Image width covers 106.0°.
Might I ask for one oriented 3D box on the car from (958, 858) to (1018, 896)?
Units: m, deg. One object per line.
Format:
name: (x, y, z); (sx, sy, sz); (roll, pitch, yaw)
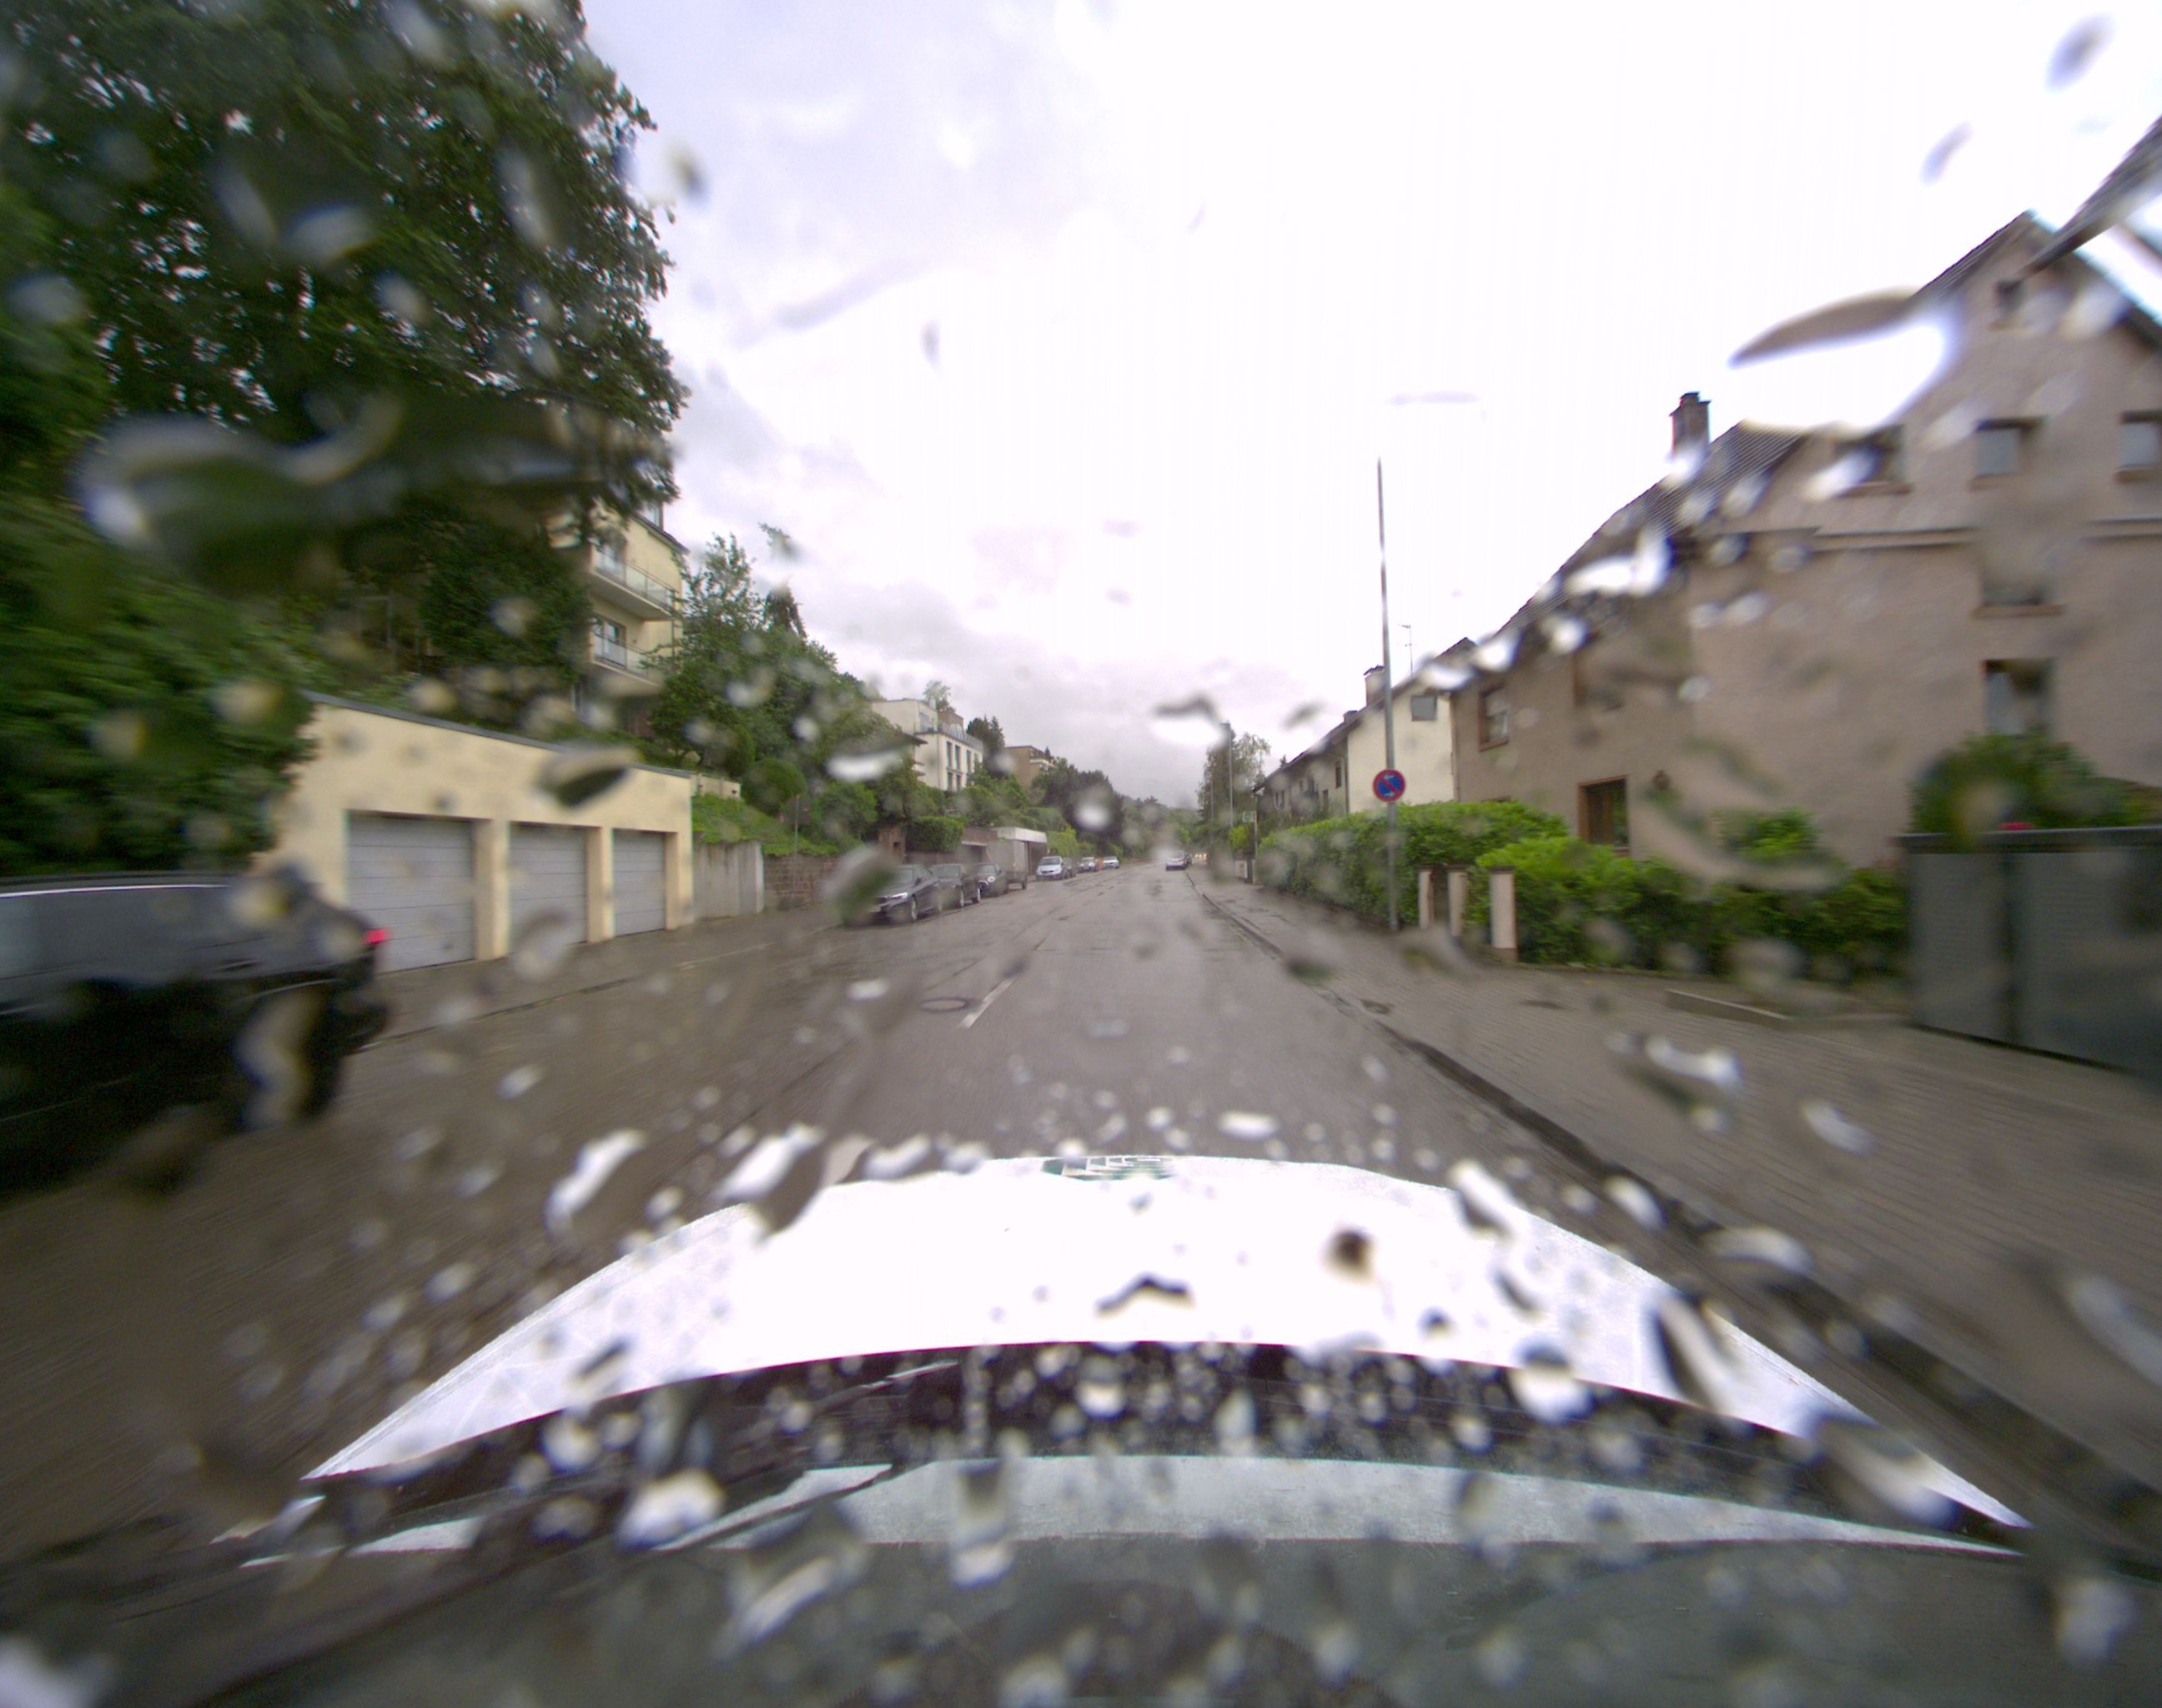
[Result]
car: (-3.878, 0.937, 34.549); (1.800, 1.349, 3.780); (-4, 1, 4)

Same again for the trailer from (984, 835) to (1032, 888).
trailer: (-3.598, 0.328, 40.397); (1.528, 2.399, 3.079); (-5, 0, 8)

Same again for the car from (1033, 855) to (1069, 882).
car: (-1.969, 0.956, 54.647); (1.747, 1.539, 3.762); (-6, 0, 5)

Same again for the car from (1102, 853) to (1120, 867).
car: (3.593, 0.656, 96.507); (1.747, 1.497, 4.228); (-4, 0, 6)

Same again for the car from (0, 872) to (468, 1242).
car: (-5.986, 1.074, 4.188); (1.866, 1.625, 4.597); (-6, 0, 3)

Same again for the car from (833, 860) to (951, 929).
car: (-4.971, 1.005, 22.169); (1.778, 1.454, 4.759); (-5, 0, 3)

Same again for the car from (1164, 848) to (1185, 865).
car: (8.878, 0.214, 77.182); (1.779, 1.460, 4.319); (-2, 0, 9)

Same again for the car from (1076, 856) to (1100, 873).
car: (0.685, 0.991, 77.506); (1.747, 1.402, 3.776); (-5, 0, 6)

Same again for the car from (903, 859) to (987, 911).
car: (-4.516, 0.987, 27.702); (1.778, 1.415, 4.222); (-4, 1, 4)

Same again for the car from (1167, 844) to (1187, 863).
car: (9.826, -0.025, 82.848); (1.774, 1.790, 4.372); (-2, 0, 9)

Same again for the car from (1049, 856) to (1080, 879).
car: (-1.206, 0.958, 60.148); (1.747, 1.409, 3.710); (-6, 0, 5)
